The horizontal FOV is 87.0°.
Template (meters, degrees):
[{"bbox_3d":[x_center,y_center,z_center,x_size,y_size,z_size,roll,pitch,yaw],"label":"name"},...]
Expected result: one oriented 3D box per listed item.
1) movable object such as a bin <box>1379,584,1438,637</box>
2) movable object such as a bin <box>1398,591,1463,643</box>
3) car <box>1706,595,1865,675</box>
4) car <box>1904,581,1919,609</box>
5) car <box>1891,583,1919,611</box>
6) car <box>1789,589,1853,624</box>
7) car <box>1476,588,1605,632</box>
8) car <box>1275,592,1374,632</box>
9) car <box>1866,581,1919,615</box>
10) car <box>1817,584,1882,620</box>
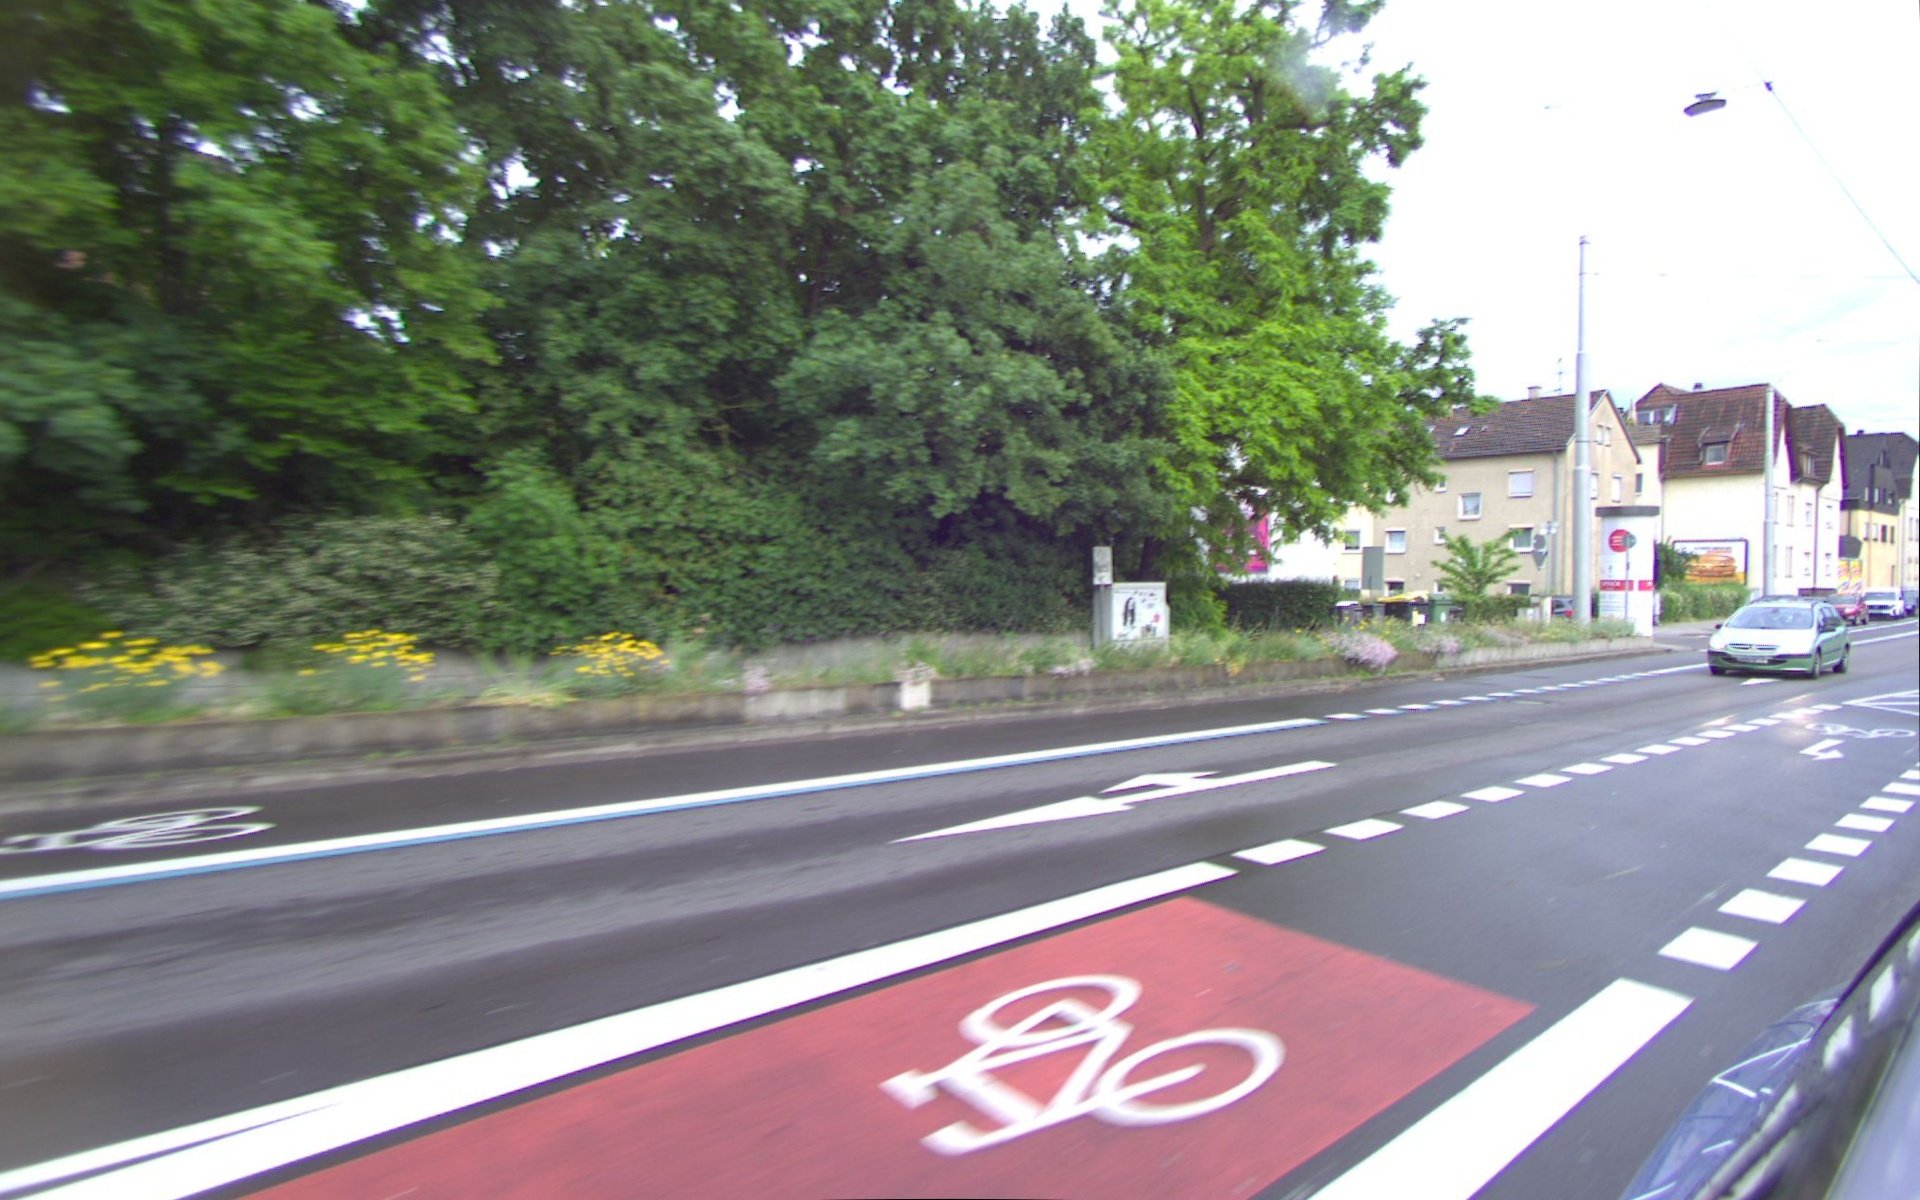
[{"bbox_3d":[12.751,0.292,28.772,1.116,1.435,1.185,-2,1,-43],"label":"movable object such as a bin"},{"bbox_3d":[13.805,0.470,29.680,1.278,1.435,1.312,-2,1,-43],"label":"movable object such as a bin"},{"bbox_3d":[17.180,0.645,20.996,4.127,1.467,1.886,0,1,-41],"label":"car"},{"bbox_3d":[60.642,-0.344,63.317,4.206,1.585,1.705,-3,1,-39],"label":"car"},{"bbox_3d":[56.337,-0.179,59.554,4.063,1.530,1.690,-2,1,-39],"label":"car"},{"bbox_3d":[38.613,0.257,45.381,3.862,1.462,1.669,-2,1,-42],"label":"car"},{"bbox_3d":[24.497,0.440,42.841,1.845,1.676,4.285,-3,0,-36],"label":"car"},{"bbox_3d":[18.296,0.635,50.932,1.847,1.817,4.280,-3,0,-40],"label":"car"},{"bbox_3d":[51.761,-0.147,56.097,4.445,1.778,1.850,-2,1,-42],"label":"car"},{"bbox_3d":[44.020,0.086,50.047,4.028,1.648,1.840,-2,1,-40],"label":"car"}]
